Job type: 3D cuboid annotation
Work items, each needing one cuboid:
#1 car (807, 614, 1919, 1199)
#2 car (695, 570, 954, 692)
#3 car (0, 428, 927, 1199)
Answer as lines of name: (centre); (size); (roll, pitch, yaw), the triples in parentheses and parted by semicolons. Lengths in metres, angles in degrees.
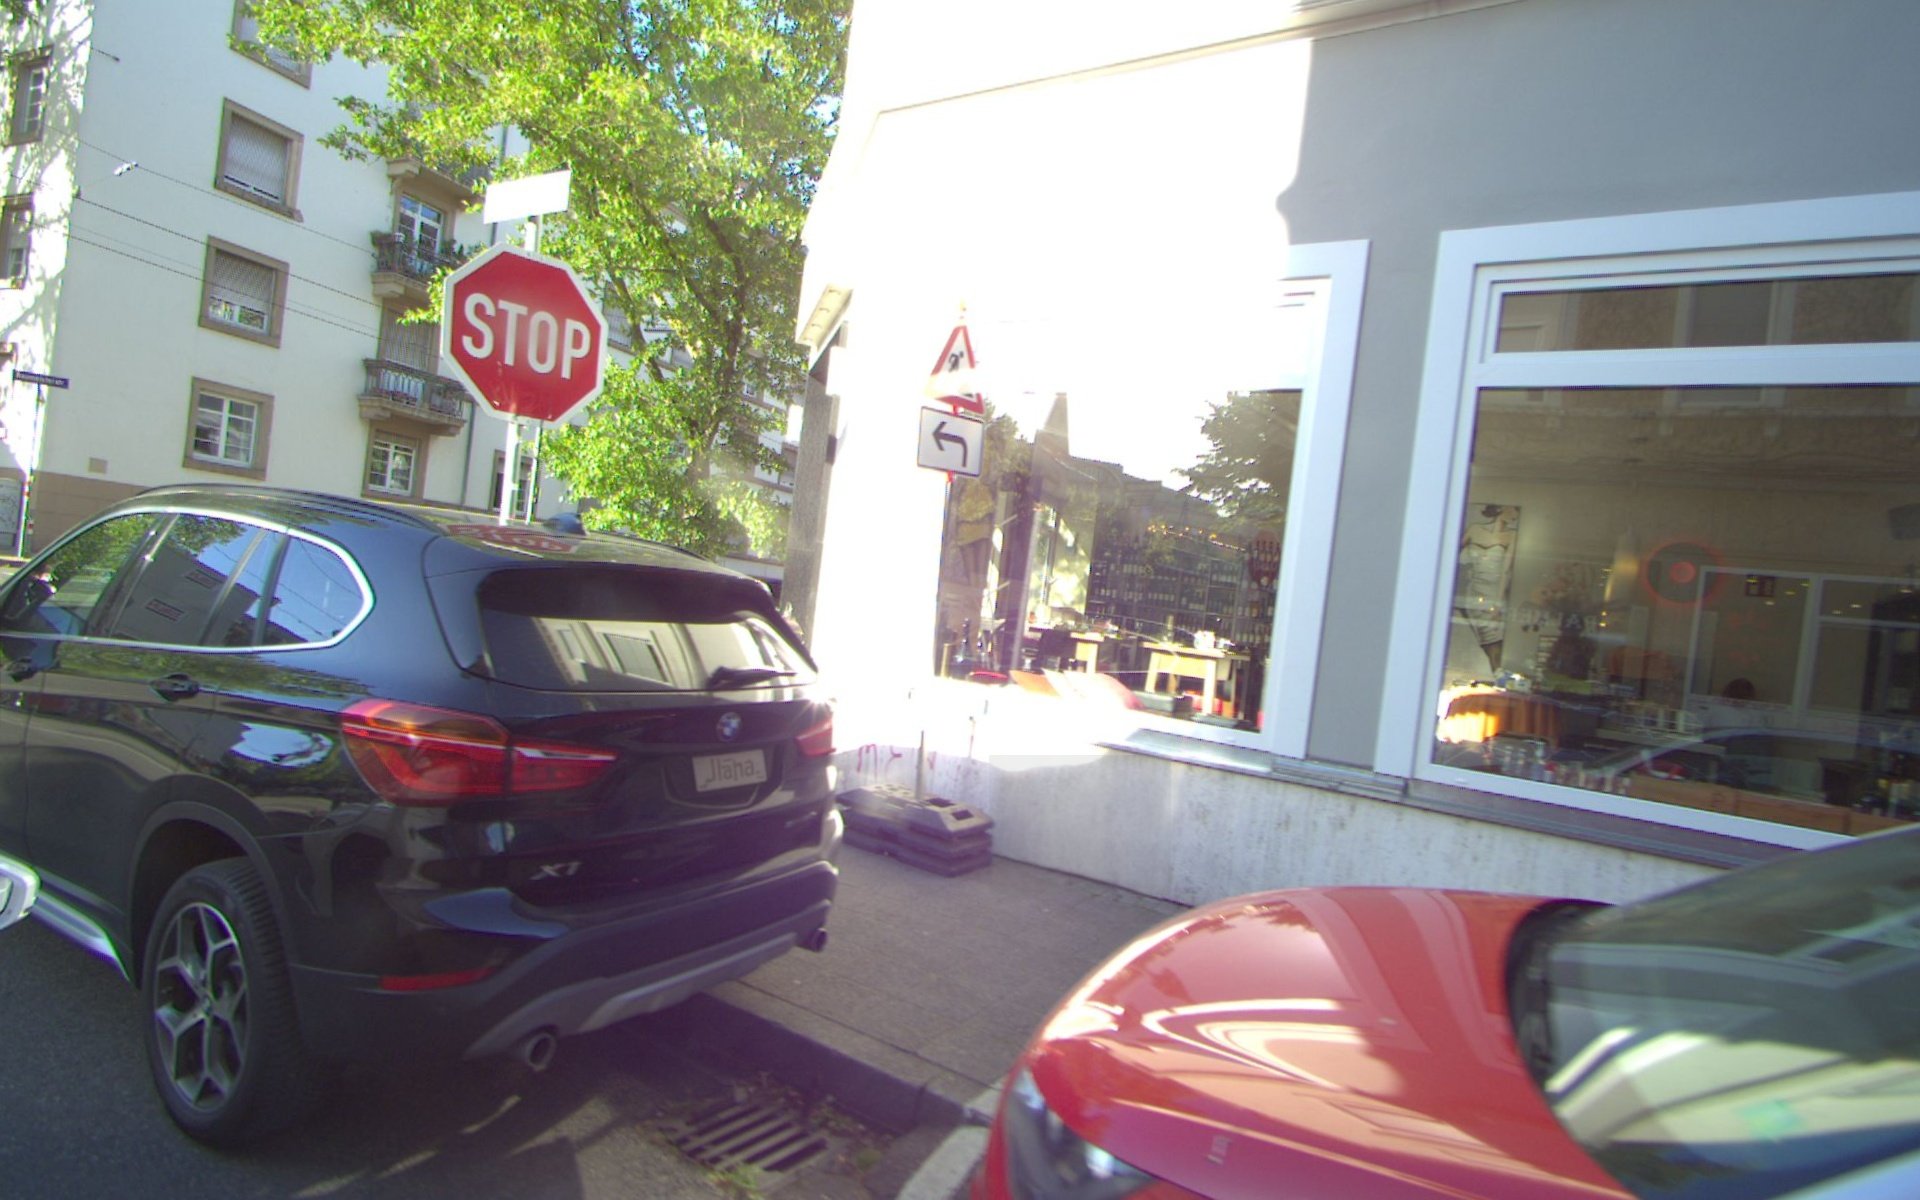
car: (1.839, 1.071, 1.346); (3.888, 1.520, 1.649); (7, -1, 31)
car: (-2.224, 0.514, 17.235); (4.058, 1.575, 1.620); (6, 1, 1)
car: (-2.418, 0.420, 3.717); (4.127, 1.681, 1.764); (7, -1, 31)
